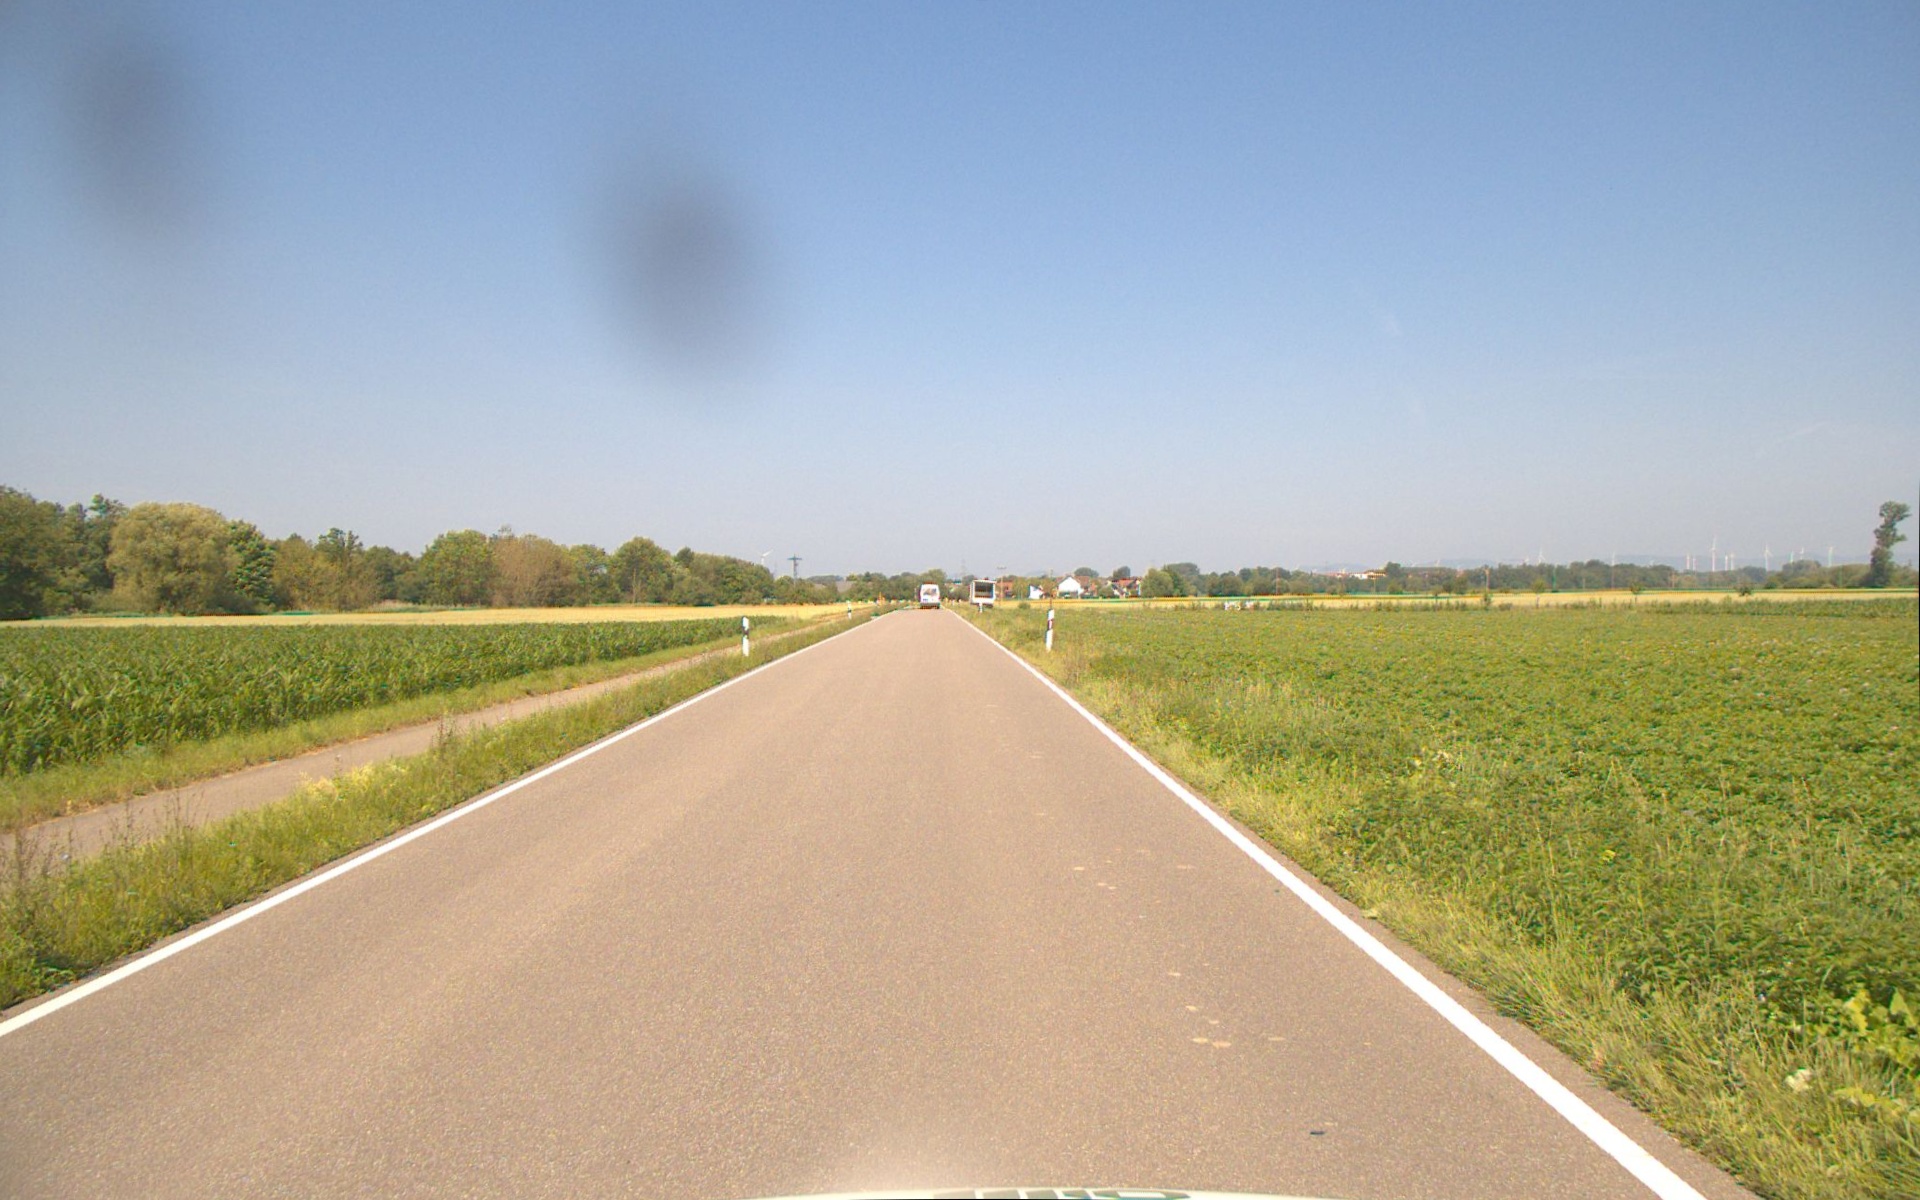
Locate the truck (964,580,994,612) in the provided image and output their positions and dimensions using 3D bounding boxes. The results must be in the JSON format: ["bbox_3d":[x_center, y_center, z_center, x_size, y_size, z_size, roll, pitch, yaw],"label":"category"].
[{"bbox_3d":[1.812,-0.362,159.164,2.289,2.994,7.004,2,0,-3],"label":"truck"}]

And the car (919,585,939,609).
[{"bbox_3d":[-3.203,-0.294,170.343,2.064,2.344,5.494,1,0,-1],"label":"car"}]
